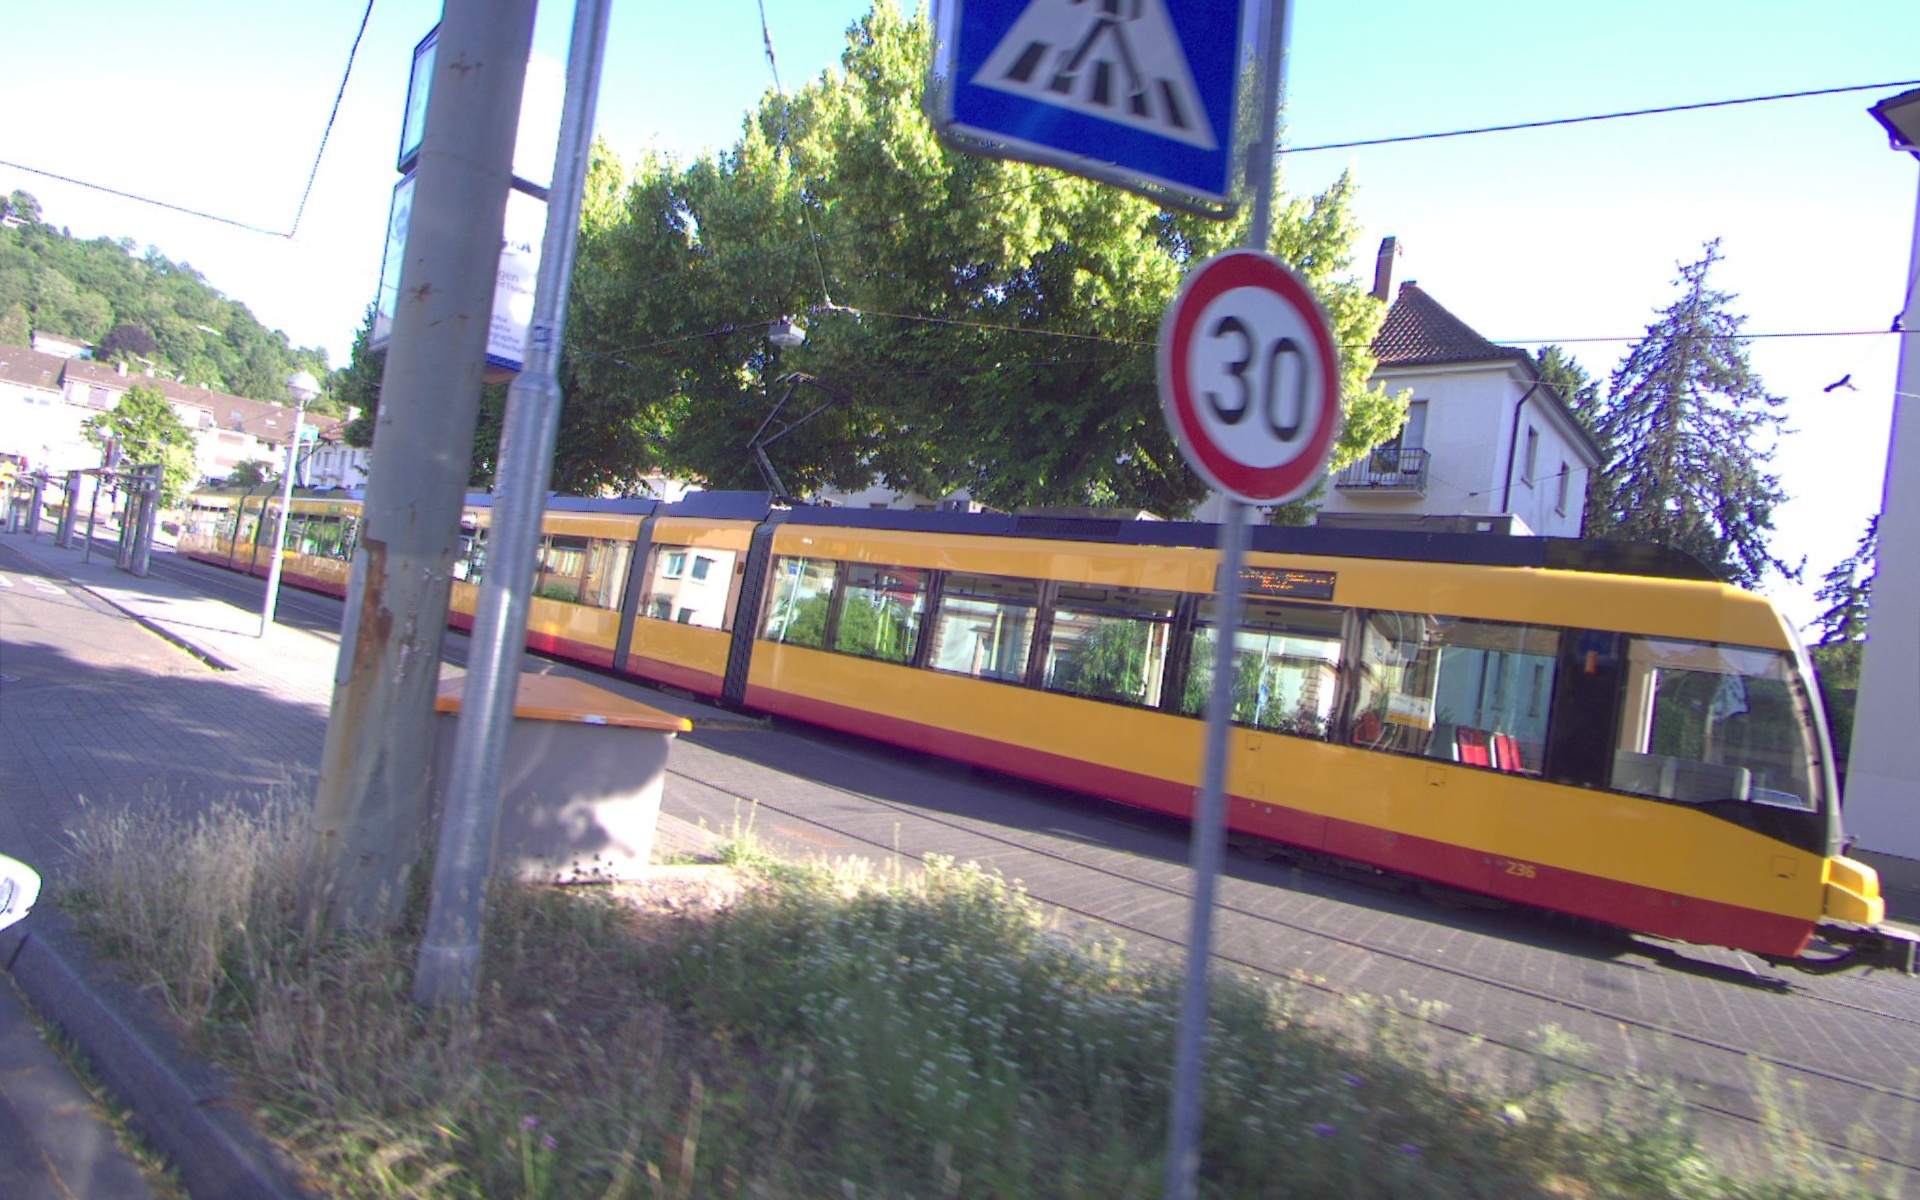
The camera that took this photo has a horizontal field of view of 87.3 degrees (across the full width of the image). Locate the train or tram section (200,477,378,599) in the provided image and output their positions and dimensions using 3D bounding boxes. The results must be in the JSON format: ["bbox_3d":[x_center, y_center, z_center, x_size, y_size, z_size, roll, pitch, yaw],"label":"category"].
[{"bbox_3d":[-24.942,-2.420,37.107,9.782,3.596,2.774,7,-2,42],"label":"train or tram section"}]

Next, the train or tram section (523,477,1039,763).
[{"bbox_3d":[-3.604,0.032,17.108,9.781,3.596,2.774,7,-2,41],"label":"train or tram section"}]

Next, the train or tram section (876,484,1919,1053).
[{"bbox_3d":[3.759,0.922,10.742,9.777,3.596,2.775,7,-2,40],"label":"train or tram section"}]

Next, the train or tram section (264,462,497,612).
[{"bbox_3d":[-17.763,-2.050,30.412,9.781,3.596,2.774,7,-2,41],"label":"train or tram section"}]

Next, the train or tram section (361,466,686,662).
[{"bbox_3d":[-10.667,-1.058,23.773,9.781,3.596,2.774,7,-2,41],"label":"train or tram section"}]

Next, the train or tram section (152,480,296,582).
[{"bbox_3d":[-32.127,-3.110,43.694,9.782,3.596,2.774,7,-2,42],"label":"train or tram section"}]

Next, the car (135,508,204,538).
[{"bbox_3d":[-81.200,-7.899,103.369,5.203,2.036,1.975,11,-4,-44],"label":"car"}]
